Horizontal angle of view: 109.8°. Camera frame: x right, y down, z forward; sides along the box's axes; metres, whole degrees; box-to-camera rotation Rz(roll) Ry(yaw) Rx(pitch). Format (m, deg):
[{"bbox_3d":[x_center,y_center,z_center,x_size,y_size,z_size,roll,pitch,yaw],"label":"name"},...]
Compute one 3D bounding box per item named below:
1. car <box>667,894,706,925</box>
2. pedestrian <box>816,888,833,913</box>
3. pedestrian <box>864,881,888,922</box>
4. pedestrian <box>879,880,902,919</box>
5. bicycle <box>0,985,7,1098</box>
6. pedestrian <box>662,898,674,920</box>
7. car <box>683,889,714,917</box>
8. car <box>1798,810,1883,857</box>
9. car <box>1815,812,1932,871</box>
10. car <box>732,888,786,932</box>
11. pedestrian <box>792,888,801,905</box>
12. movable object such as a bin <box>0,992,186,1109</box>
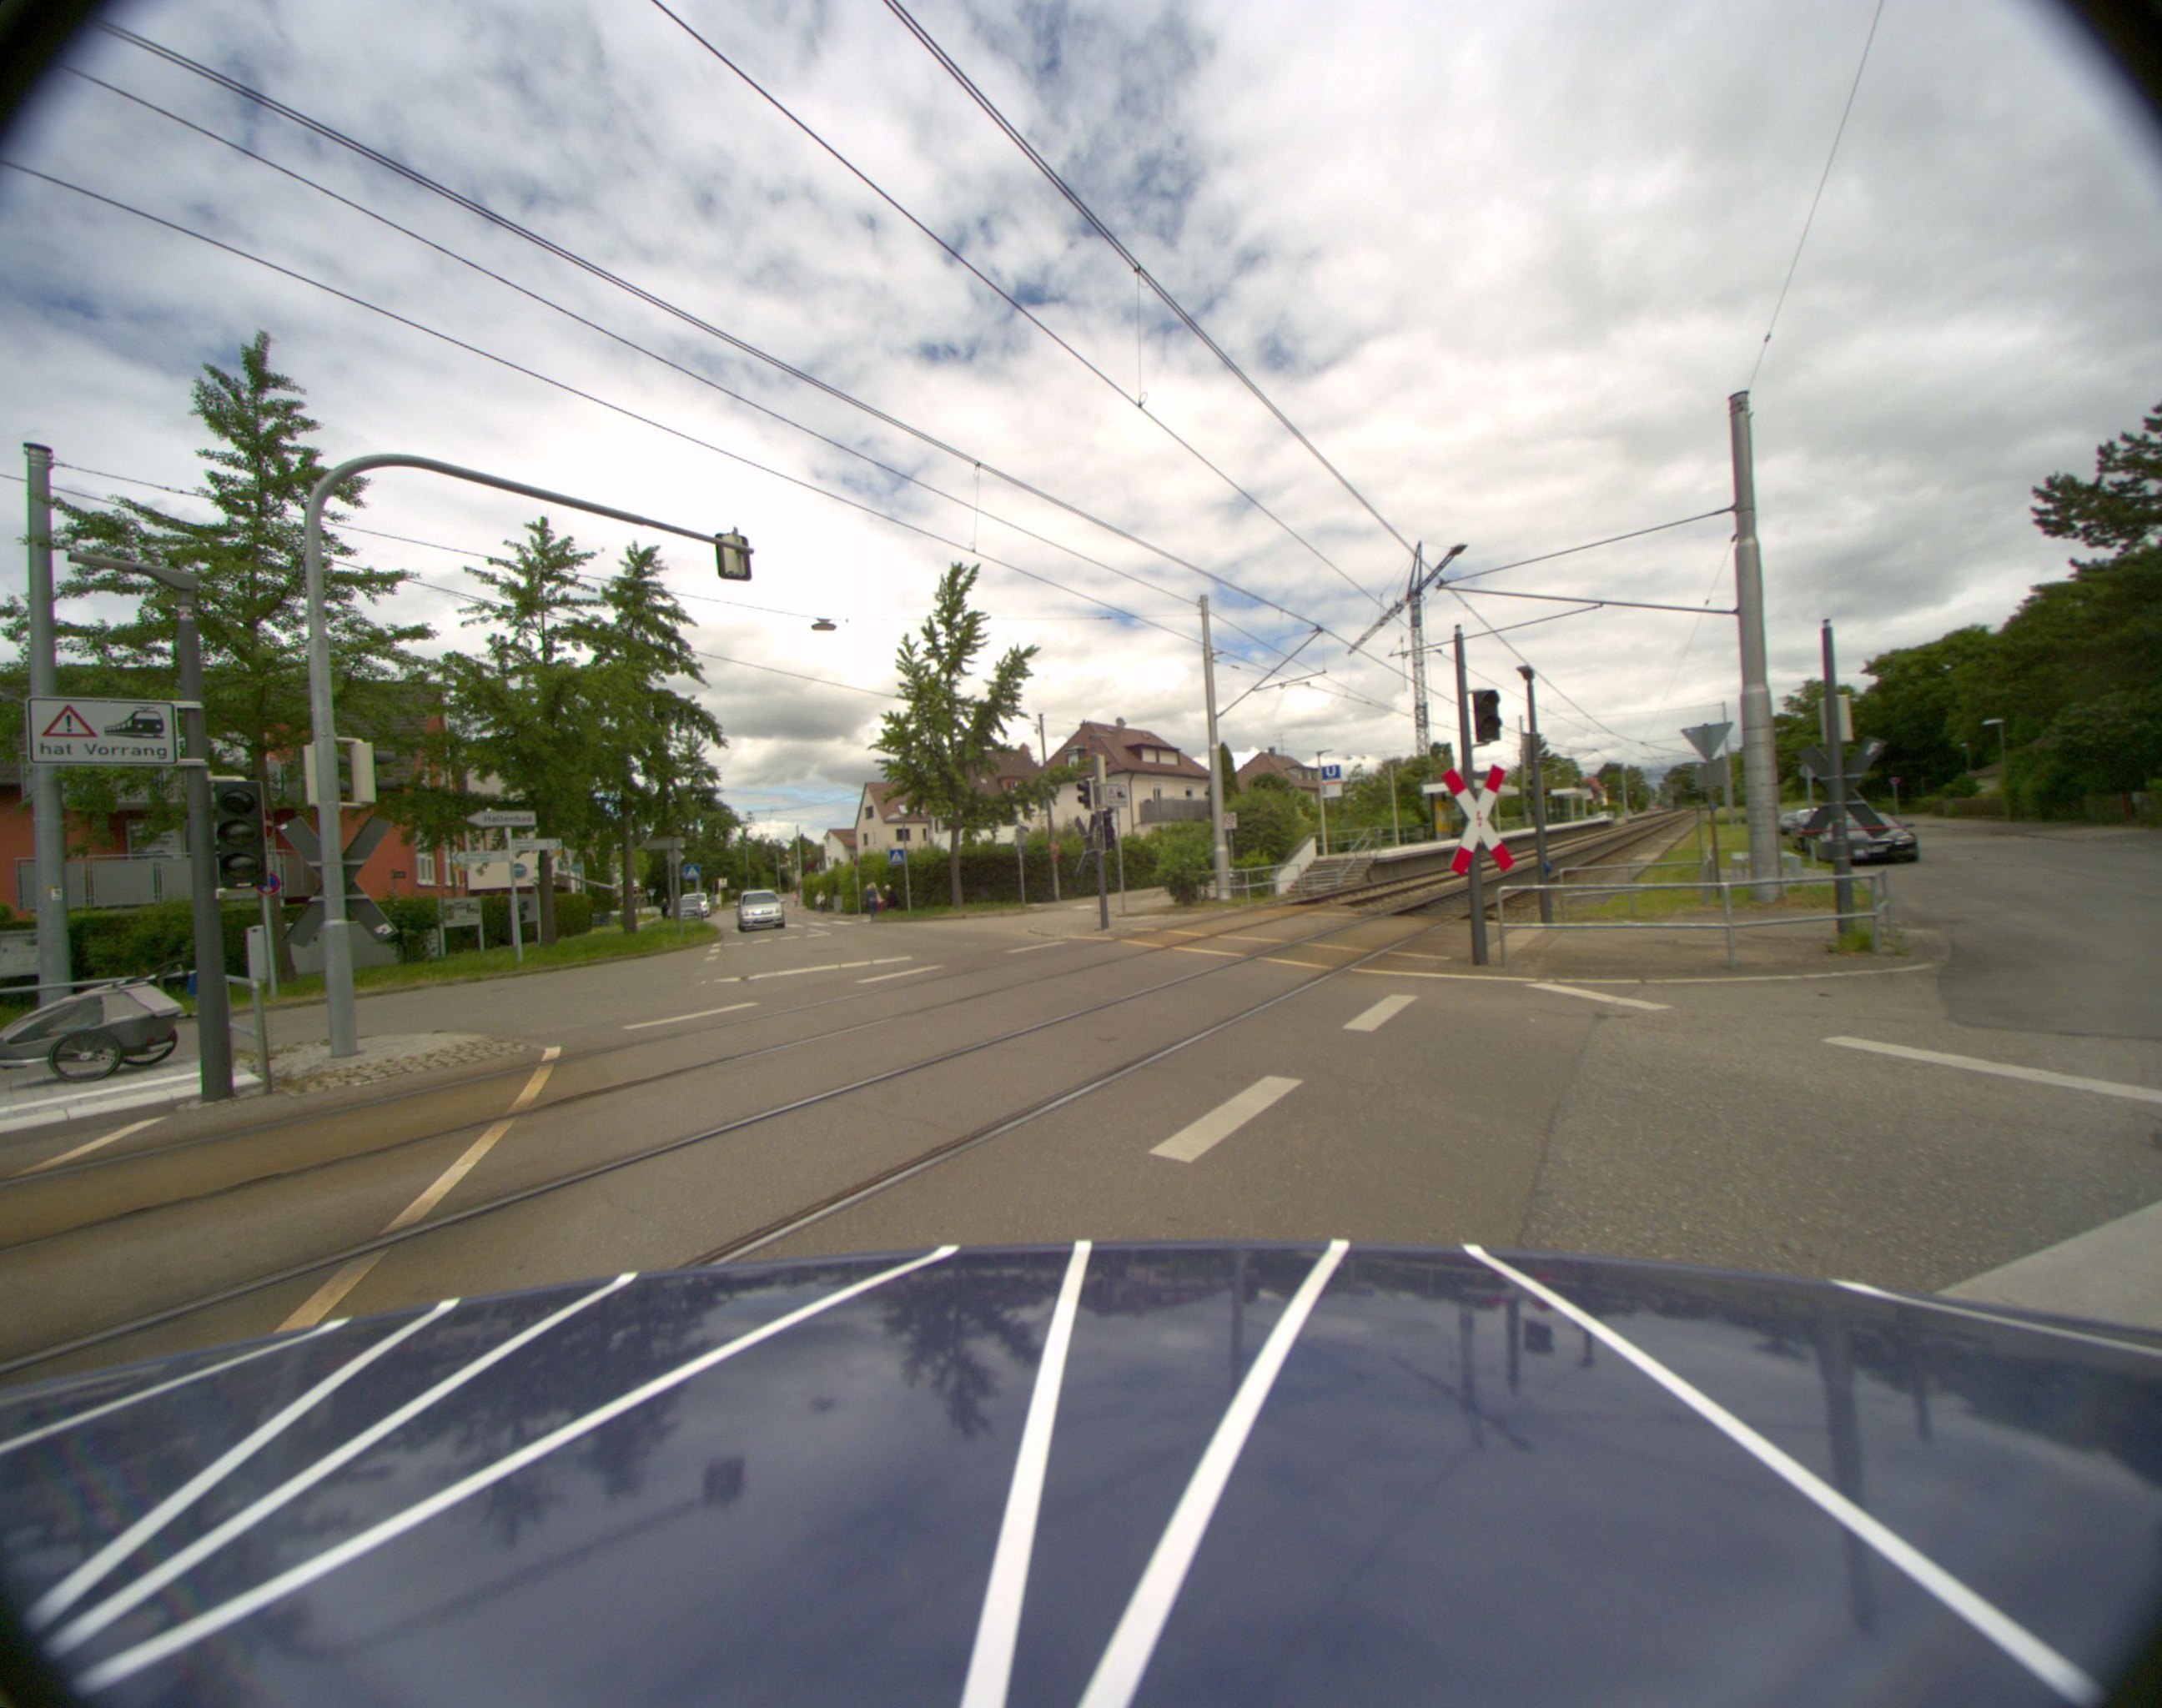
[{"bbox_3d":[-23.624,3.272,45.419,1.855,1.626,4.457,-5,0,-28],"label":"car"},{"bbox_3d":[-16.566,2.976,49.049,0.750,1.522,0.543,-6,0,-39],"label":"pedestrian"},{"bbox_3d":[-8.642,1.994,32.025,0.598,1.610,0.678,-6,1,5],"label":"pedestrian"},{"bbox_3d":[-8.295,1.981,33.137,0.598,1.610,0.678,-6,1,5],"label":"pedestrian"},{"bbox_3d":[-10.730,1.735,6.494,1.695,1.149,0.465,-3,0,-34],"label":"bicycle"},{"bbox_3d":[-31.382,4.175,57.751,0.679,1.659,0.658,-3,-1,-26],"label":"pedestrian"},{"bbox_3d":[-30.904,3.906,61.482,2.002,2.002,5.557,-5,0,-26],"label":"car"},{"bbox_3d":[27.631,-0.787,27.768,1.850,1.472,4.007,-5,-1,41],"label":"car"},{"bbox_3d":[23.365,-0.404,22.557,1.818,1.492,4.127,-5,-1,39],"label":"car"},{"bbox_3d":[-13.136,2.229,30.916,1.729,1.558,3.920,-4,-1,-26],"label":"car"},{"bbox_3d":[-27.192,4.052,72.523,0.620,1.589,0.607,-4,0,-27],"label":"pedestrian"},{"bbox_3d":[-9.224,1.792,7.001,1.096,0.820,0.578,-4,0,-31],"label":"movable object such as a bin"}]
